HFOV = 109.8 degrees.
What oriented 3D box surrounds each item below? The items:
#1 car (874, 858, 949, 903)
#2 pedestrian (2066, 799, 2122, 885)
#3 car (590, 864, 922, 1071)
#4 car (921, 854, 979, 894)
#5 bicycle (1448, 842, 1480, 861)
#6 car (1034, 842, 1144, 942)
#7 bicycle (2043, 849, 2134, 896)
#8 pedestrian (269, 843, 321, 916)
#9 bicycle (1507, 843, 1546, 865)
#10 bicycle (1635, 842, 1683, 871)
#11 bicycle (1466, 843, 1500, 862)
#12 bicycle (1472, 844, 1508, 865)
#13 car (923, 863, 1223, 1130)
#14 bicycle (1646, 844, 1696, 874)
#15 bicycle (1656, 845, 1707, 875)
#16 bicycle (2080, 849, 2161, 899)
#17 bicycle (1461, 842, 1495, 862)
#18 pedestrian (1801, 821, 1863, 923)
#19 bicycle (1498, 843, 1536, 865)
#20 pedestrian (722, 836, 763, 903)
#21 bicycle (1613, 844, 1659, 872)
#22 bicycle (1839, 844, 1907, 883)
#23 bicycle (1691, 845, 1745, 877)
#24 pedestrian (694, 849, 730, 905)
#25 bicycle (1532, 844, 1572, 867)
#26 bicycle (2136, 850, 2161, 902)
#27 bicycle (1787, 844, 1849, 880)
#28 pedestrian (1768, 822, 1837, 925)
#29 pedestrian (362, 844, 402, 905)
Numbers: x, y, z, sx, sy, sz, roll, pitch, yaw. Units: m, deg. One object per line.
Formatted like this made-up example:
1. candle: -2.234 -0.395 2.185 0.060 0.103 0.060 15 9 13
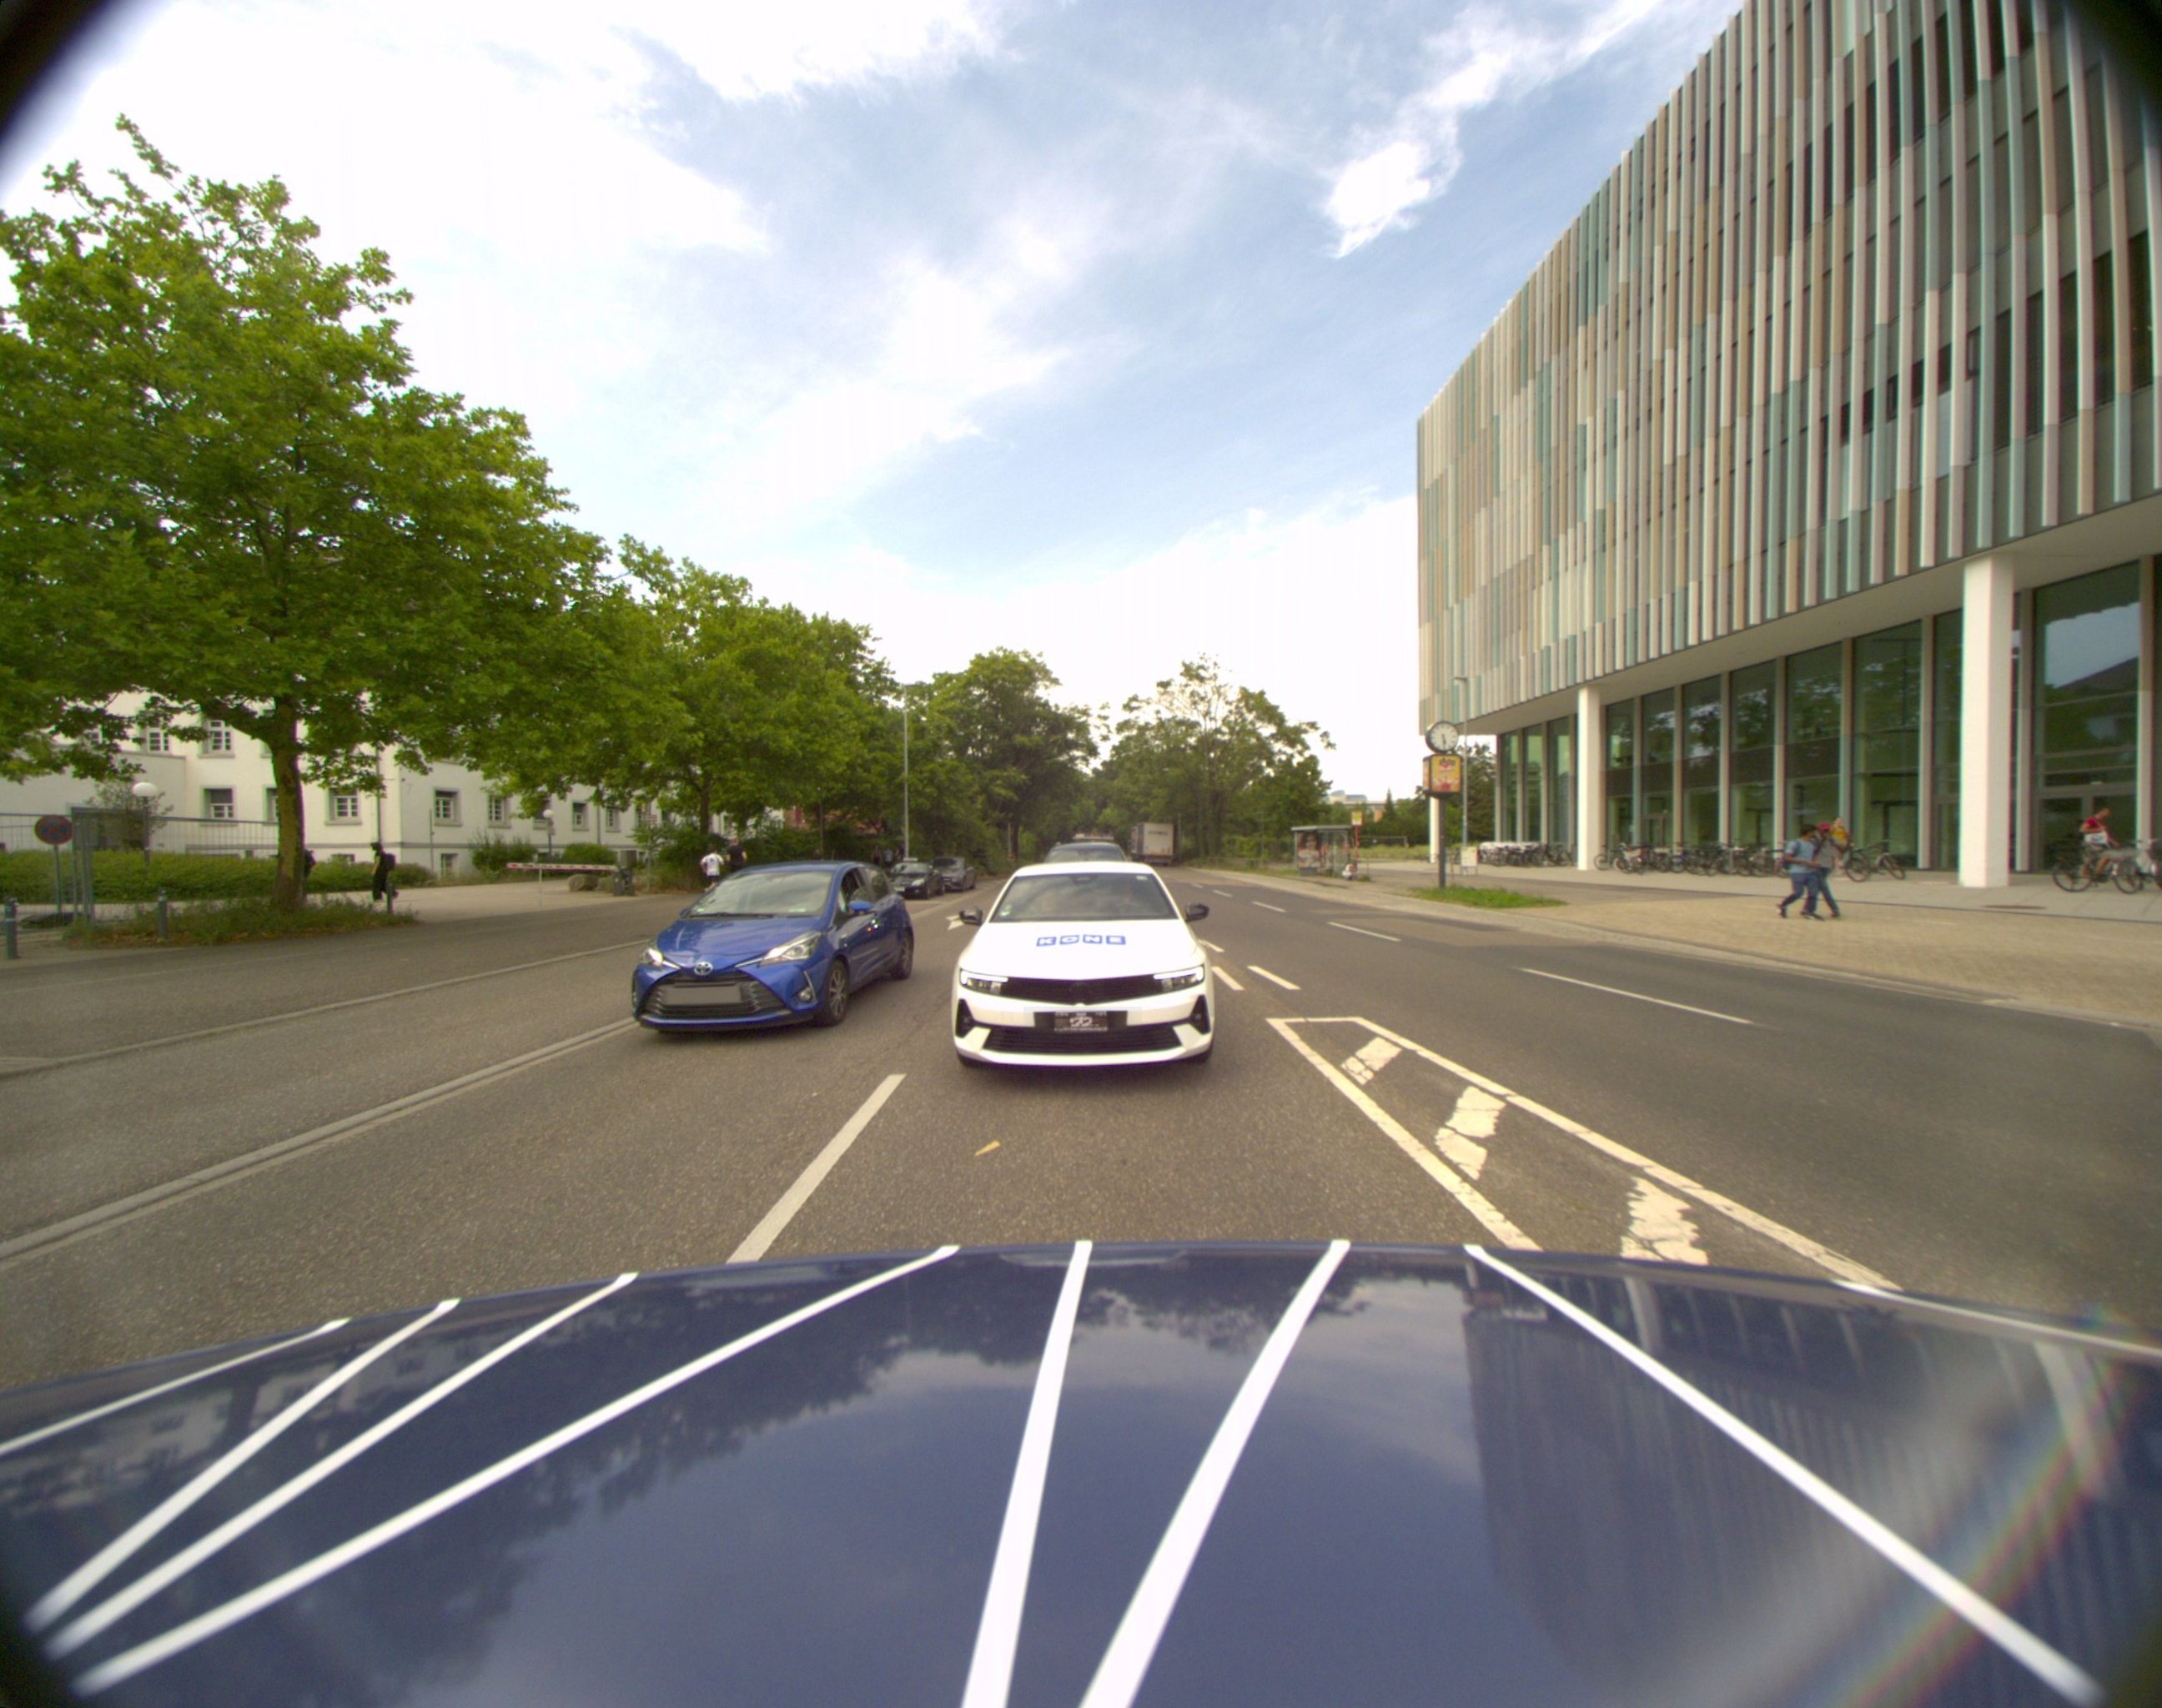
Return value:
1. car: -5.873 0.868 26.676 1.703 1.361 3.831 -1 1 1
2. pedestrian: 24.426 -0.287 18.334 0.512 2.032 0.625 -1 0 6
3. car: -2.927 0.912 7.830 1.703 1.485 3.831 -1 1 1
4. car: -5.337 0.759 31.333 1.606 1.454 4.017 1 1 1
5. bicycle: 22.641 -0.136 44.927 1.703 1.017 0.434 -3 1 -4
6. car: 0.168 0.638 15.778 1.904 1.639 4.643 -2 2 1
7. bicycle: 21.796 0.391 16.444 1.546 0.932 0.389 -3 1 -4
8. pedestrian: -19.004 0.603 18.384 0.586 1.729 0.594 -1 1 2
9. bicycle: 22.353 -0.007 38.091 1.703 1.017 0.434 -3 1 -4
10. bicycle: 22.167 0.092 29.165 1.581 1.017 0.389 -3 1 -4
11. bicycle: 22.517 -0.084 42.570 1.703 1.017 0.434 -3 1 -4
12. bicycle: 22.267 0.030 41.382 1.703 1.017 0.434 -3 1 -4
13. car: -0.014 0.867 6.856 1.744 1.430 4.782 -1 1 1
14. bicycle: 22.209 0.188 28.602 1.581 1.017 0.389 -3 1 -4
15. bicycle: 22.169 0.209 28.057 1.581 1.017 0.389 -3 1 -4
16. bicycle: 21.710 0.410 15.769 1.546 0.932 0.394 -3 1 -4
17. bicycle: 22.704 -0.108 43.444 1.703 1.017 0.434 -3 1 -4
18. pedestrian: 13.797 0.329 13.964 0.512 1.827 0.624 -1 0 1
19. bicycle: 22.348 -0.005 38.943 1.703 1.017 0.434 -3 1 -4
20. pedestrian: -9.969 0.439 22.388 0.798 1.922 0.760 -1 1 1
21. bicycle: 22.128 0.148 30.305 1.581 1.017 0.389 -3 1 -4
22. bicycle: 22.169 0.259 21.270 1.581 1.017 0.389 -3 1 -4
23. bicycle: 22.100 0.251 26.378 1.581 1.017 0.389 -3 1 -4
24. pedestrian: -10.700 0.653 22.056 0.646 1.556 0.804 -1 1 -1
25. bicycle: 22.594 0.057 36.447 1.703 1.017 0.389 -3 1 -4
26. bicycle: 21.724 0.399 14.922 1.545 0.989 0.399 -3 1 -3
27. bicycle: 22.630 0.242 23.326 1.581 1.017 0.389 -3 1 -4
28. pedestrian: 13.238 0.349 13.959 0.512 1.827 0.772 -1 0 1
29. pedestrian: -20.284 0.585 22.061 0.530 1.743 0.594 -1 1 5
